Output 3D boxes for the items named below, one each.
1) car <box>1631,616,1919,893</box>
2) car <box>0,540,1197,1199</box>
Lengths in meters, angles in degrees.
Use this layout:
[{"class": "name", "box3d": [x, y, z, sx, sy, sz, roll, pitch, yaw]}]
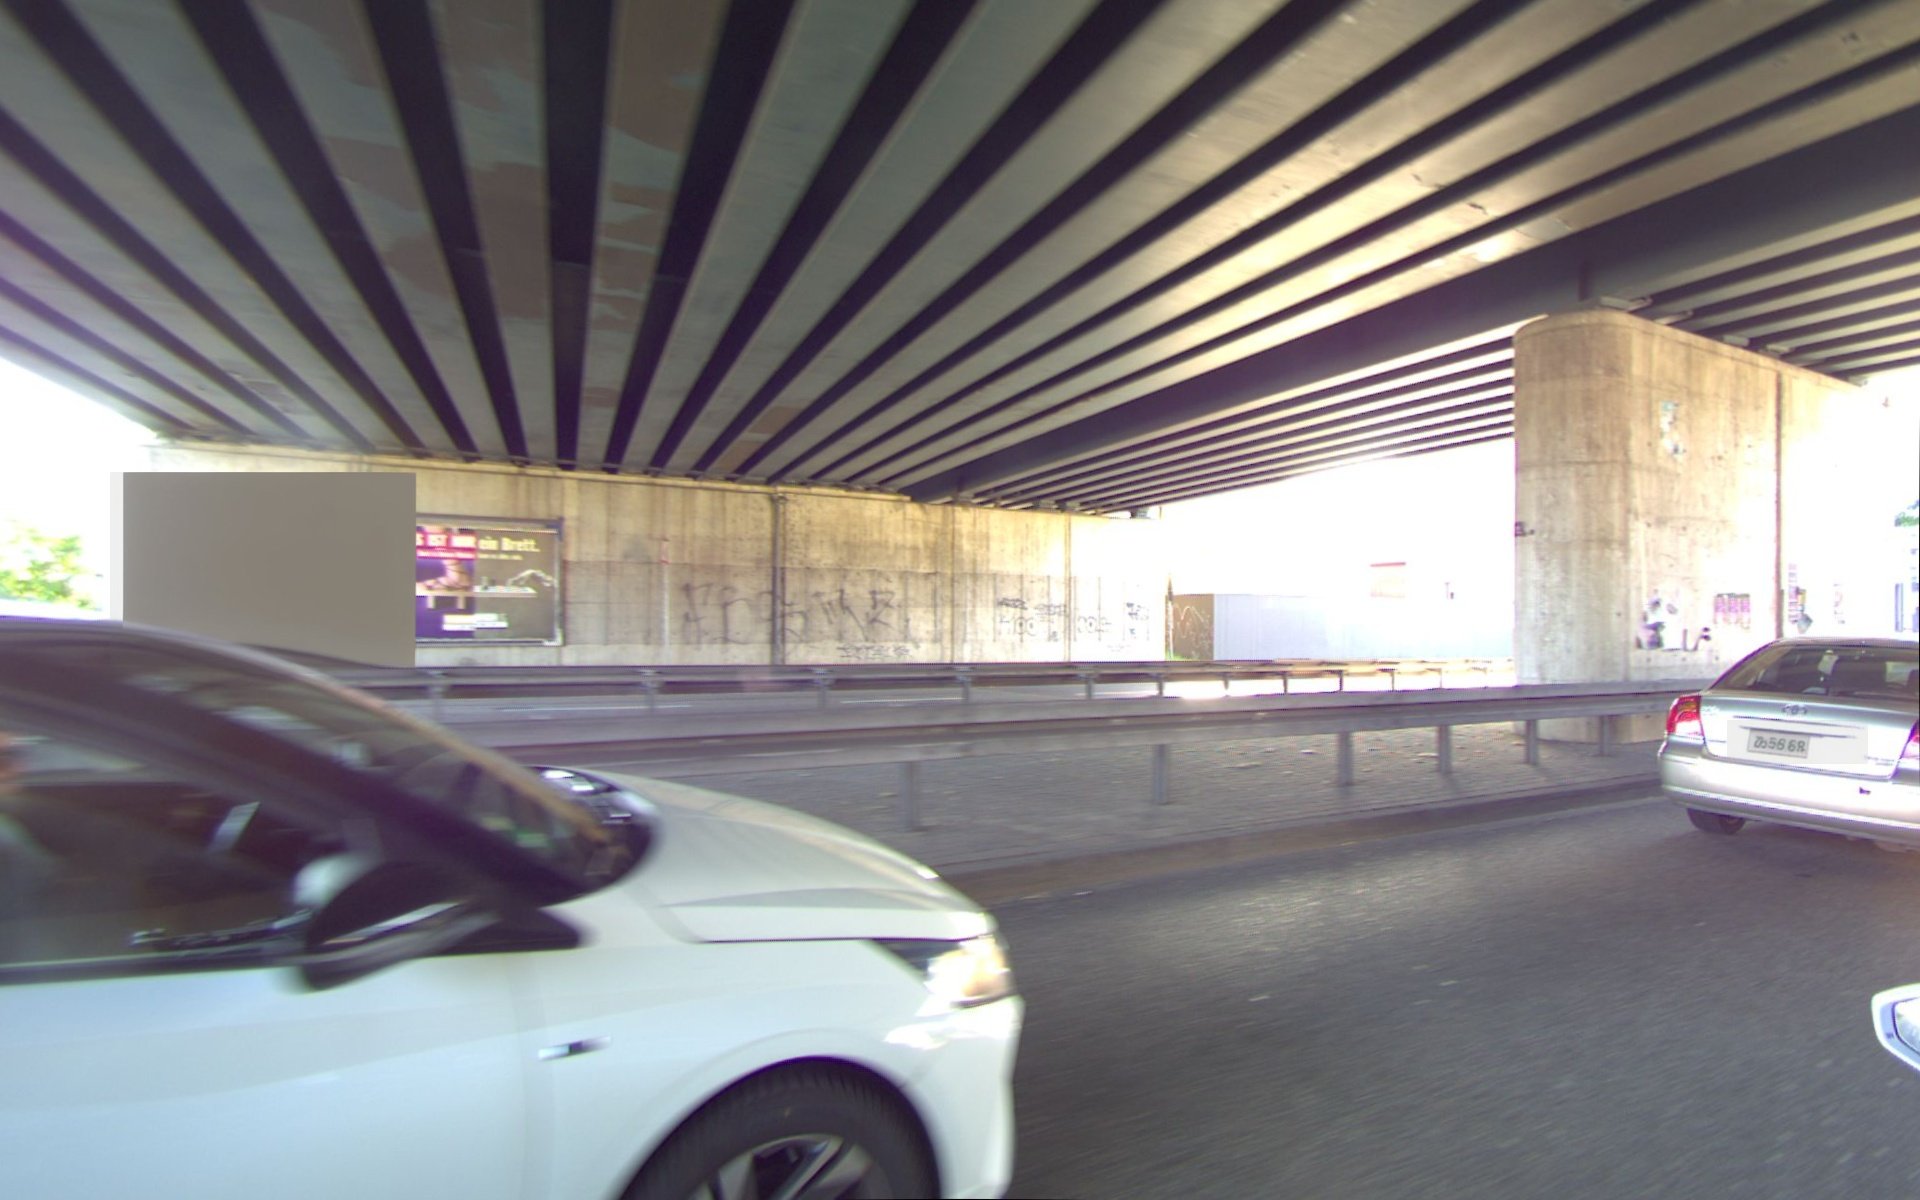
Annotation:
[{"class": "car", "box3d": [6.760, 0.924, 7.137, 4.271, 1.499, 1.724, 2, -1, -32]}, {"class": "car", "box3d": [-1.633, 0.678, 1.860, 3.946, 1.499, 1.724, 3, -1, -31]}]
